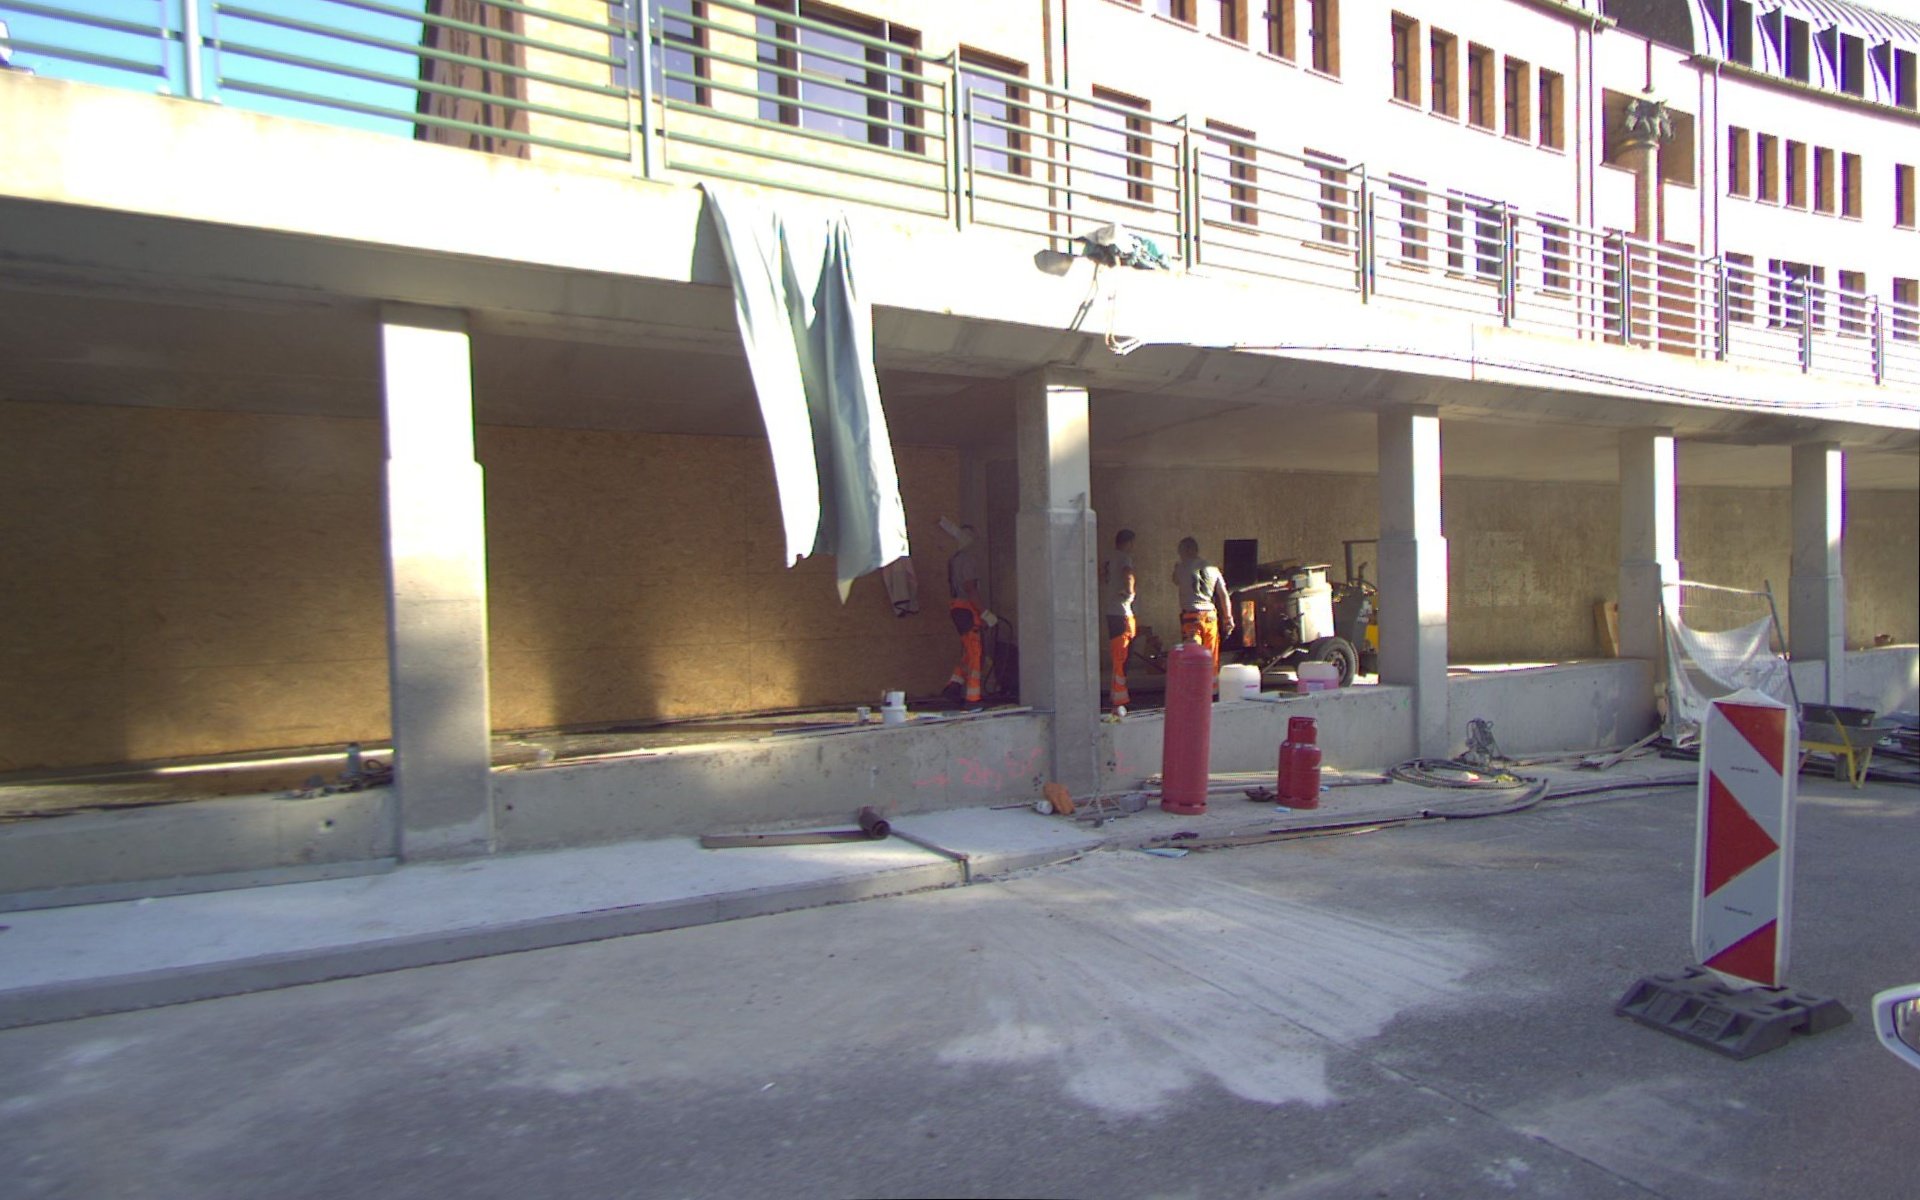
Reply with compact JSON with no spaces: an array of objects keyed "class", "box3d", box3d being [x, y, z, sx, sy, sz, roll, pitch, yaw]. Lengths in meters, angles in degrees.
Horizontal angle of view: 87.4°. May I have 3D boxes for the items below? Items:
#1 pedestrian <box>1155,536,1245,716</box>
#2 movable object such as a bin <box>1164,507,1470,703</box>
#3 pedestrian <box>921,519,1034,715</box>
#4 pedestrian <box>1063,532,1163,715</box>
[{"class":"pedestrian","box3d":[2.529,0.262,10.612,0.615,1.829,0.655,1,1,-22]},{"class":"movable object such as a bin","box3d":[4.245,0.055,11.933,3.123,2.014,1.875,1,1,-32]},{"class":"pedestrian","box3d":[0.184,0.173,10.650,0.925,1.983,0.674,1,1,-30]},{"class":"pedestrian","box3d":[1.603,0.232,10.561,0.702,1.839,0.700,1,1,-32]}]
